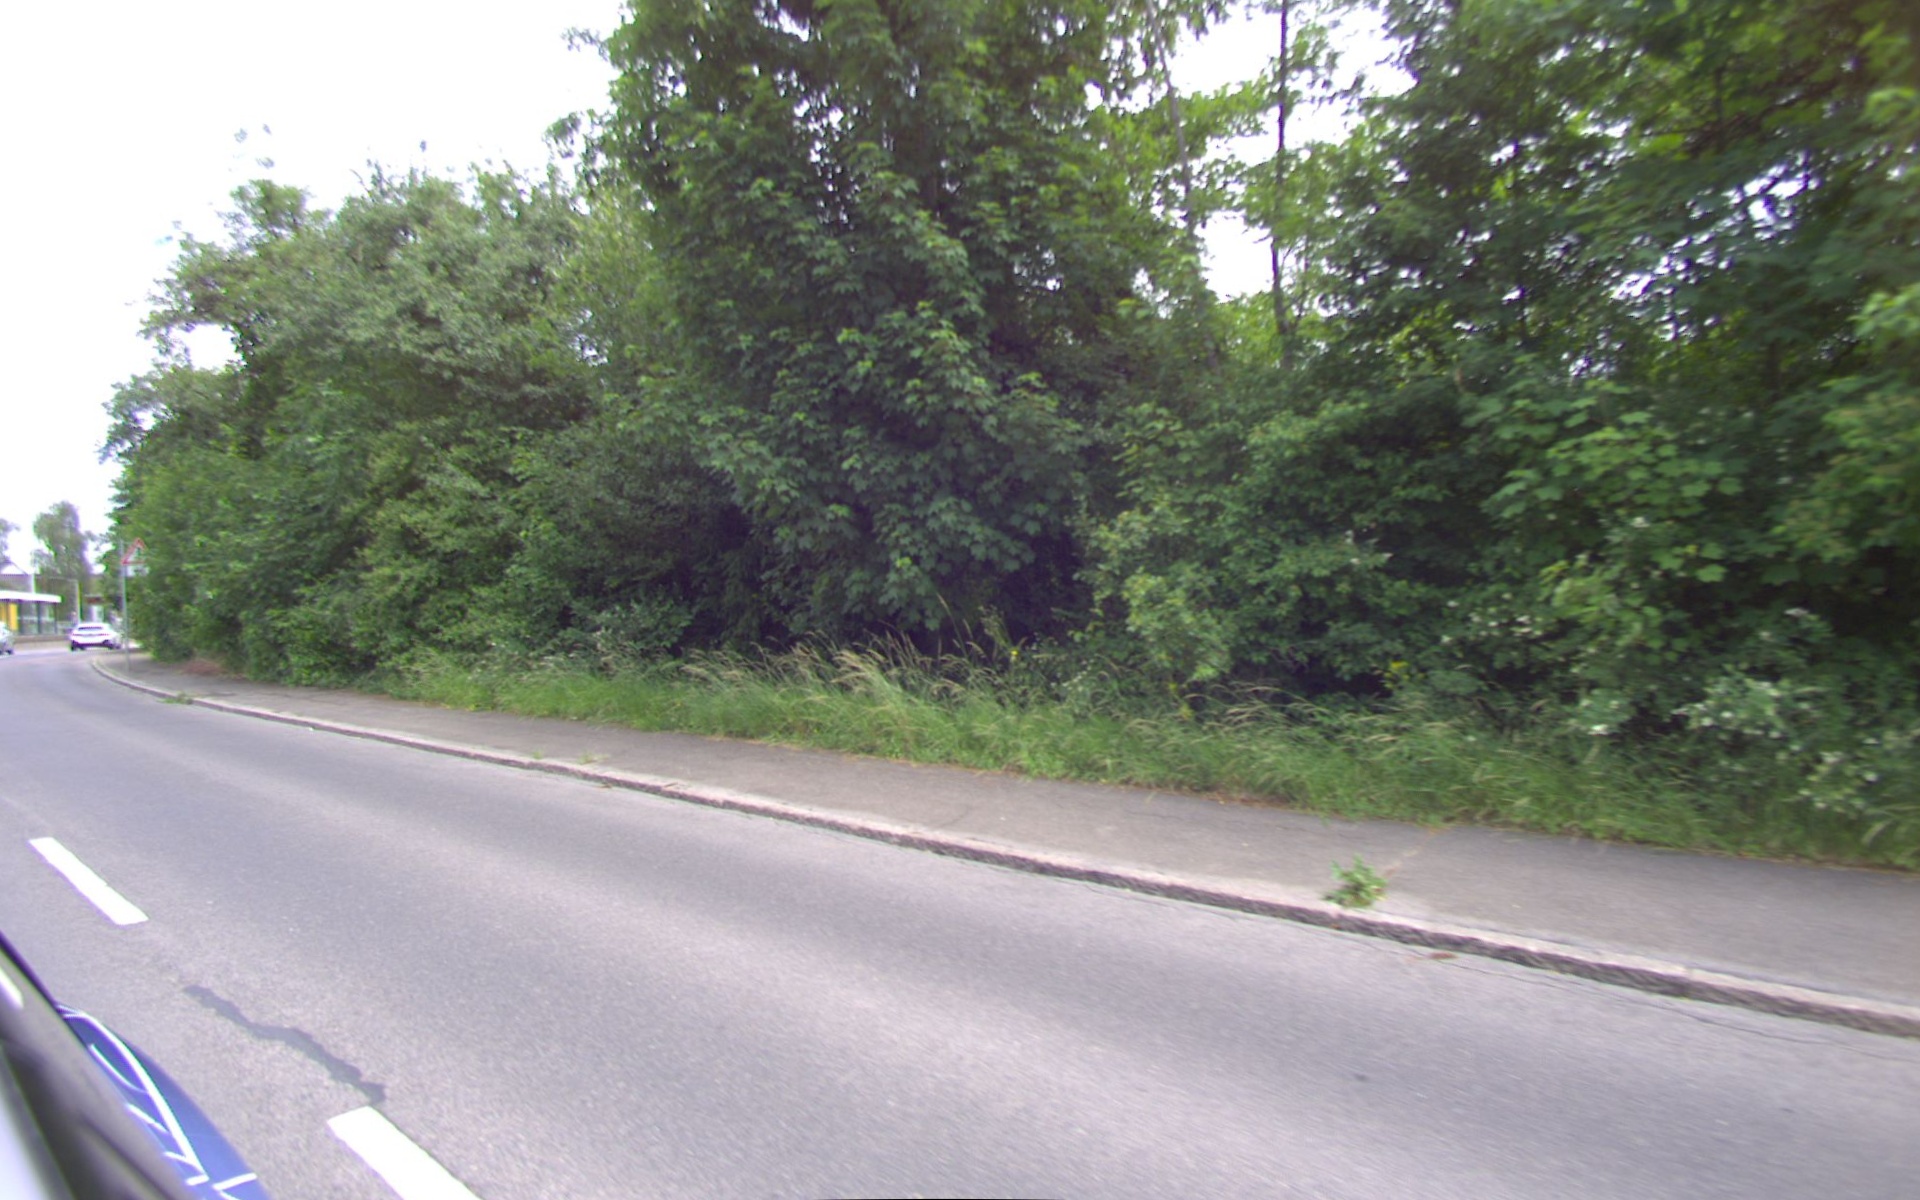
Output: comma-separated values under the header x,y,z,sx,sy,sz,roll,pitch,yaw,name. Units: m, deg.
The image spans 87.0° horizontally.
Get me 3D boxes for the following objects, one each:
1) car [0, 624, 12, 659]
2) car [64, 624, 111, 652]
x,y,z,sx,sy,sz,roll,pitch,yaw,name
-46.149,2.003,47.630,1.707,1.661,4.235,-3,0,-37,car
-49.147,2.115,57.086,1.905,1.533,4.666,1,-2,-40,car
